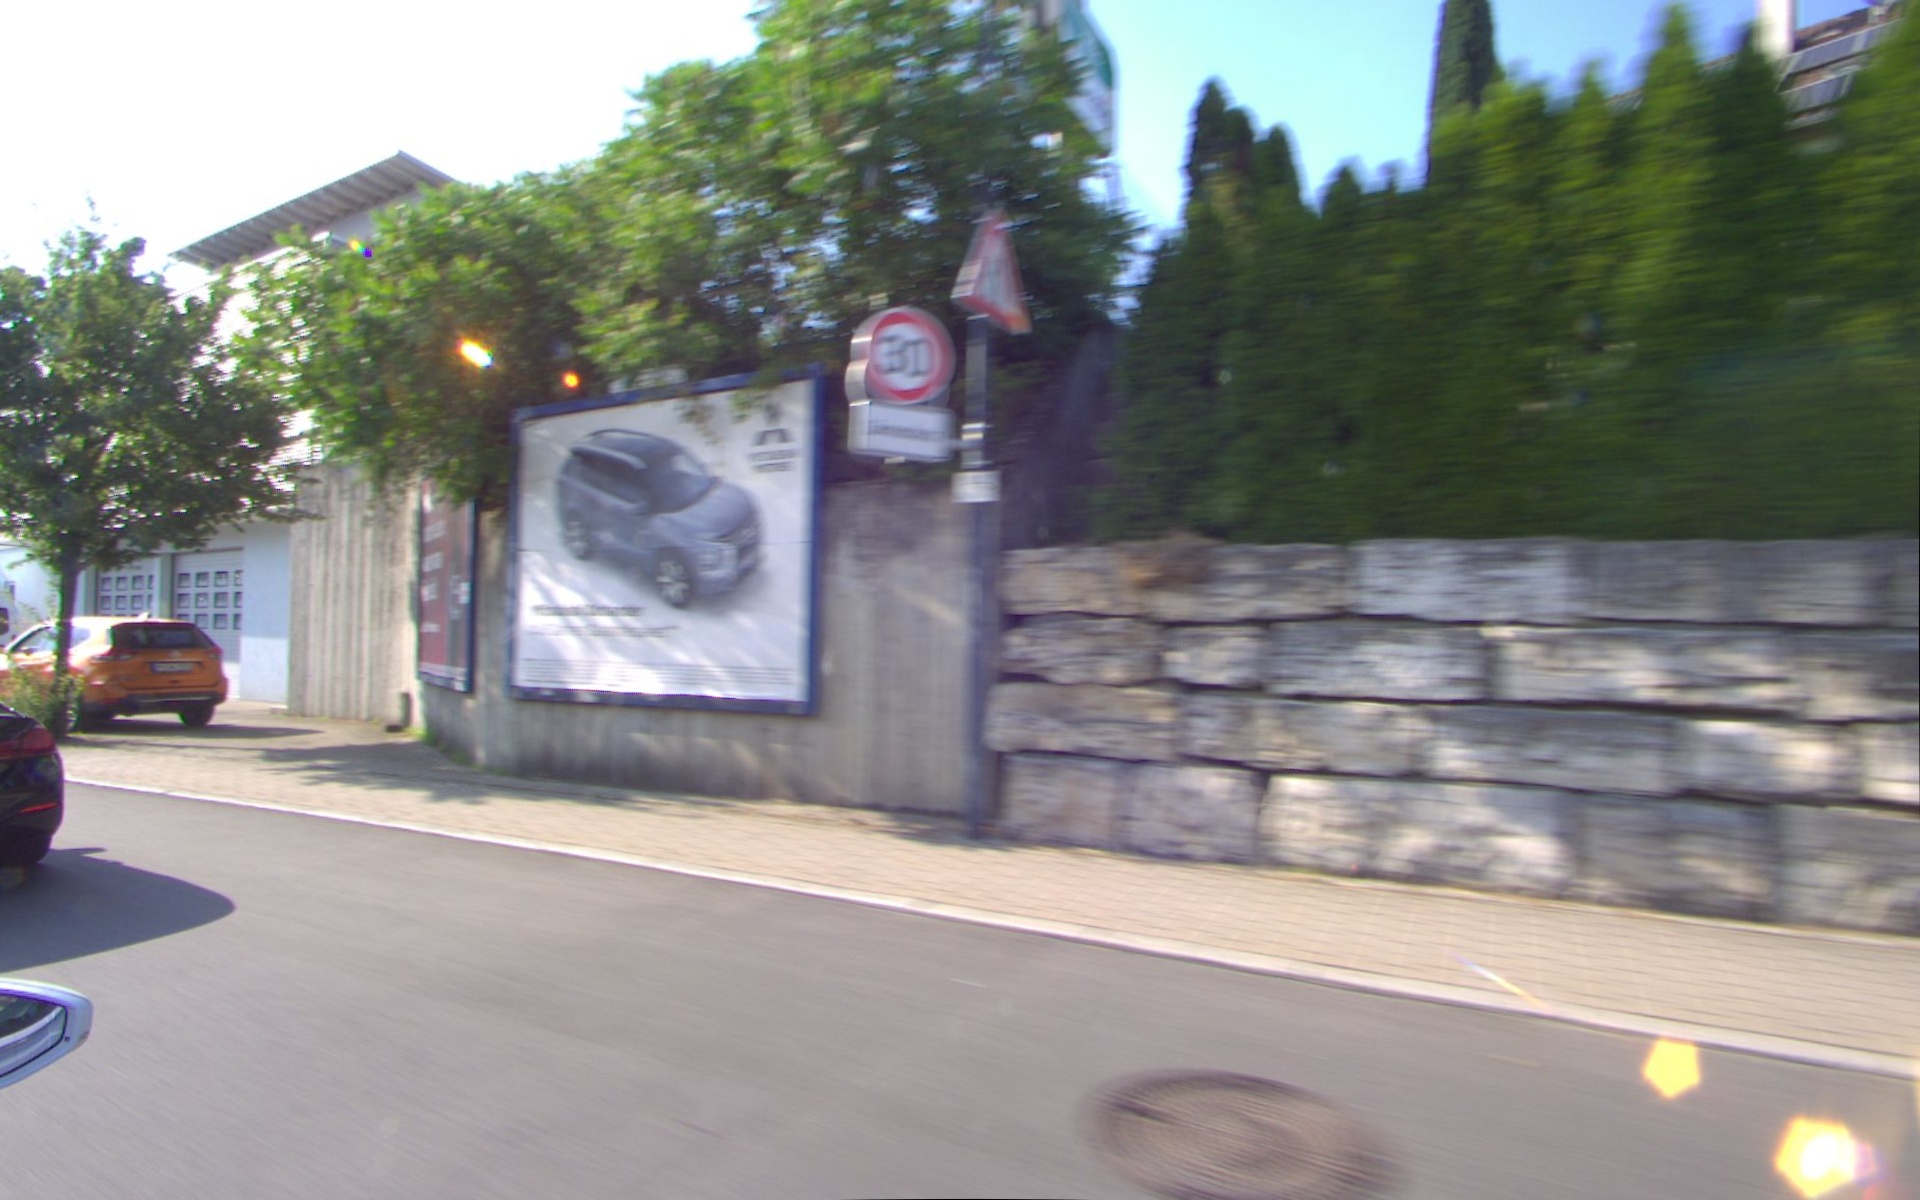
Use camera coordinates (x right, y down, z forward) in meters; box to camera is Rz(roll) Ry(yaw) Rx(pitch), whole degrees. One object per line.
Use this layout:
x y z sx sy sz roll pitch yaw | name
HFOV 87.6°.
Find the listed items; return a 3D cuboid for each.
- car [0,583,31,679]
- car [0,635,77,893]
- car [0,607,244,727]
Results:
-30.359 0.878 29.881 6.347 2.757 2.109 0 -1 30 | car
-7.314 0.899 6.061 4.197 1.387 1.698 0 -1 30 | car
-13.605 0.982 15.742 4.464 1.670 1.835 0 -2 25 | car
